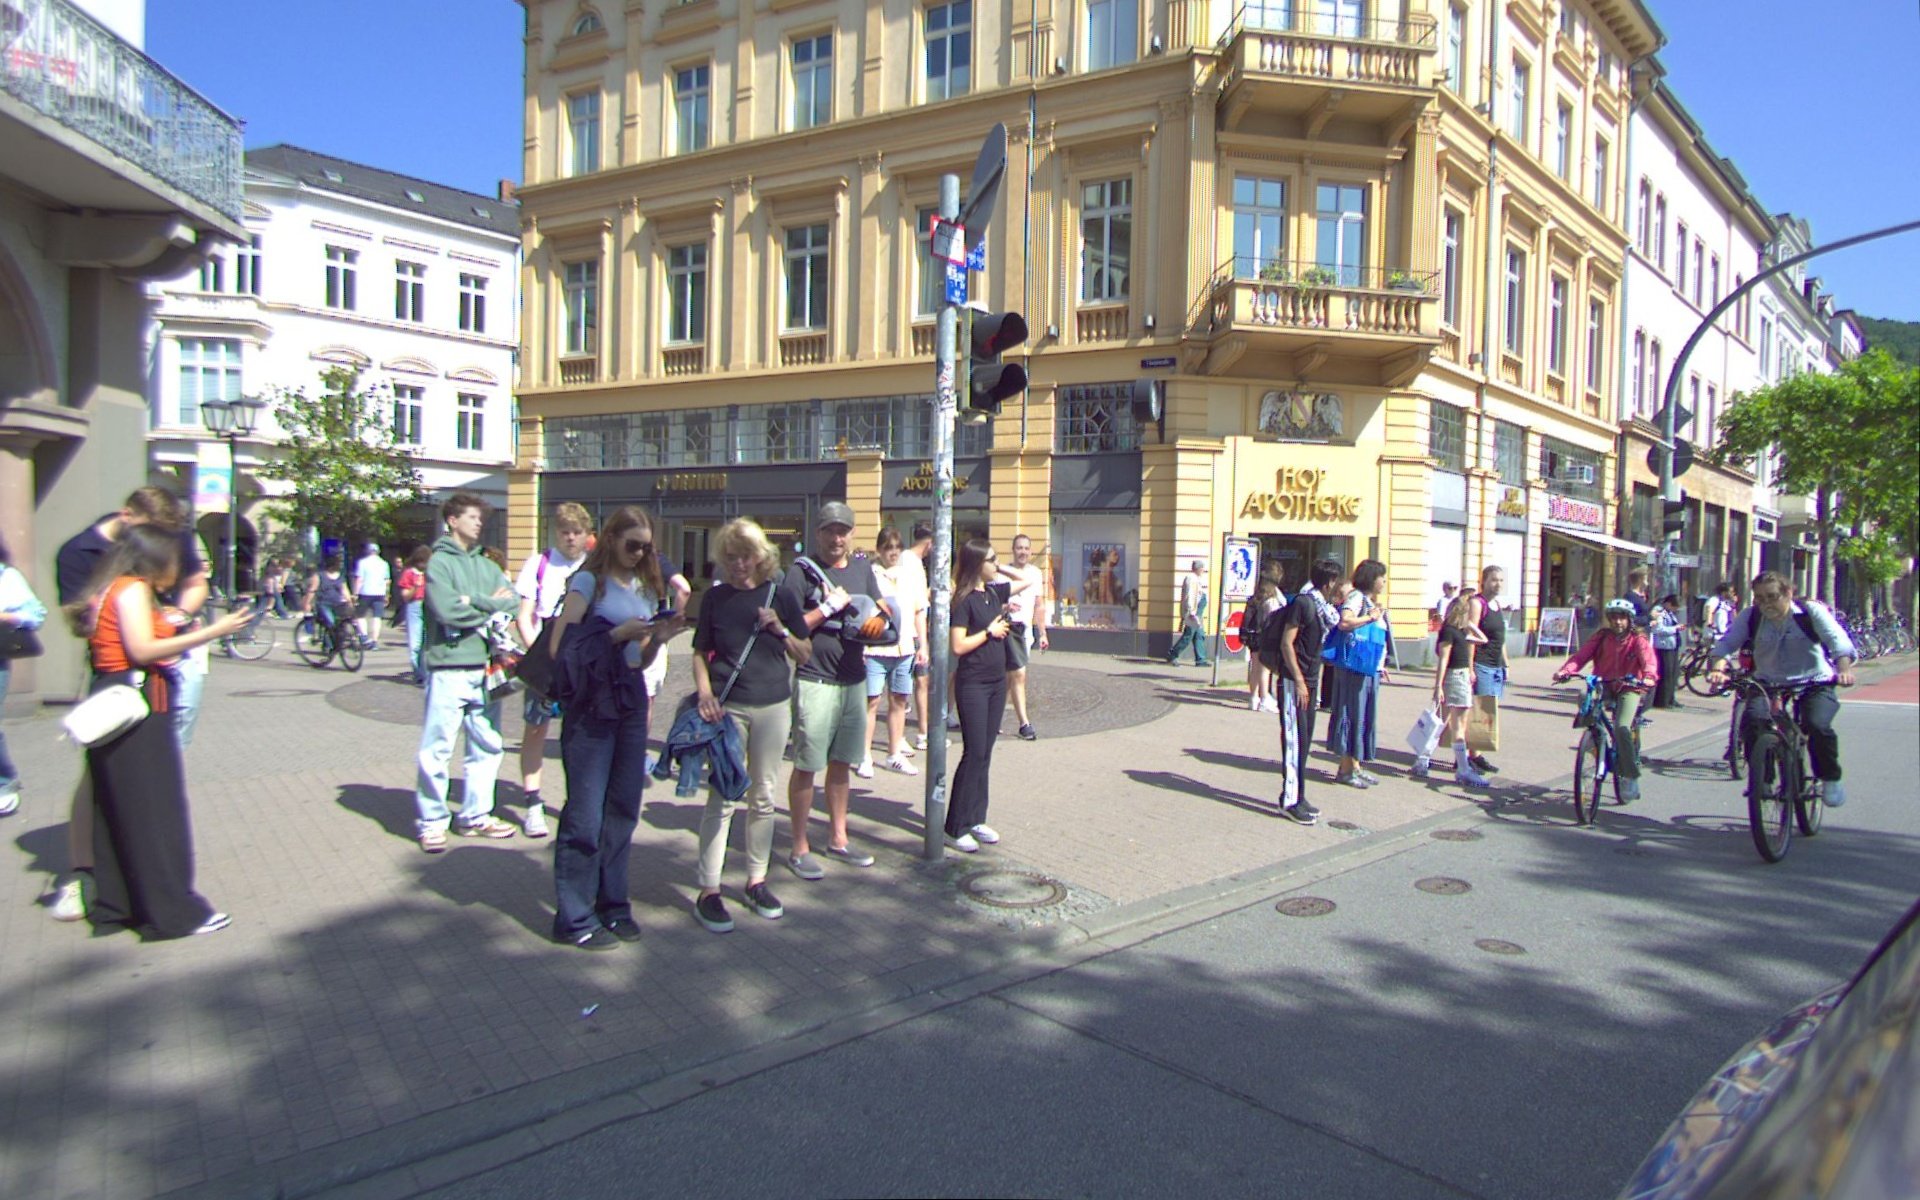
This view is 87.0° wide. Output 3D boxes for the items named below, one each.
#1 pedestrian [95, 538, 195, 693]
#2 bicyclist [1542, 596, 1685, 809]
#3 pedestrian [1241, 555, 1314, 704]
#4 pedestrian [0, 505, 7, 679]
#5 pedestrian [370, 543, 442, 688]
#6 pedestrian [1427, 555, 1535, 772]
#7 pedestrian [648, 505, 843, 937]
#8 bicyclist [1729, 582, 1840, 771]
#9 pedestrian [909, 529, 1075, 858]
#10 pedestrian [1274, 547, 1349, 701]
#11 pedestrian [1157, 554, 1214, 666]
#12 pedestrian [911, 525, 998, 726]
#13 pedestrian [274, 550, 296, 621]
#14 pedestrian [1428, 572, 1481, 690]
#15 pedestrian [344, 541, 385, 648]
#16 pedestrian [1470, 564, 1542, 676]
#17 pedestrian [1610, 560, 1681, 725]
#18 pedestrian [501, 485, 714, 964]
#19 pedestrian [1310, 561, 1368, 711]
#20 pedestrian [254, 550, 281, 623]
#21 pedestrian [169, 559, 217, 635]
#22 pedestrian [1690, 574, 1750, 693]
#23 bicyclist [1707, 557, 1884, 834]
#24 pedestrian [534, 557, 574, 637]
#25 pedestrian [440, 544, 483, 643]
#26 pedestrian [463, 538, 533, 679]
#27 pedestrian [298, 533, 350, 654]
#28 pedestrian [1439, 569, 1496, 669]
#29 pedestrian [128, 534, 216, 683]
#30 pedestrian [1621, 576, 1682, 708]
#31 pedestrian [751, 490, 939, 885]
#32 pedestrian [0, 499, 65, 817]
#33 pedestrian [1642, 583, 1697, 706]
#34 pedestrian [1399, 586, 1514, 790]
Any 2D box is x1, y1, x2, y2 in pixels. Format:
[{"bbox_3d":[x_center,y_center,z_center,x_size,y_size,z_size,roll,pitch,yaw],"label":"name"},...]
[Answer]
[{"bbox_3d":[-8.359,0.157,10.393,0.572,1.531,0.617,-1,-1,25],"label":"pedestrian"},{"bbox_3d":[4.673,0.679,7.240,0.765,1.414,0.689,0,-1,-43],"label":"bicyclist"},{"bbox_3d":[3.836,0.336,12.224,0.611,1.747,0.577,0,1,-41],"label":"pedestrian"},{"bbox_3d":[-10.595,-0.082,10.528,0.610,1.869,0.791,0,-1,0],"label":"pedestrian"},{"bbox_3d":[-6.642,0.175,12.124,0.611,1.668,0.797,0,-1,-41],"label":"pedestrian"},{"bbox_3d":[4.499,0.522,8.730,0.576,1.751,0.708,4,1,40],"label":"pedestrian"},{"bbox_3d":[-0.935,0.465,4.384,0.581,1.705,0.568,0,2,-42],"label":"pedestrian"},{"bbox_3d":[7.412,0.647,9.099,0.765,1.597,0.688,0,-1,-45],"label":"bicyclist"},{"bbox_3d":[0.180,0.472,5.673,0.658,1.705,0.577,0,3,-45],"label":"pedestrian"},{"bbox_3d":[4.362,0.280,12.578,0.594,1.837,0.578,0,3,-41],"label":"pedestrian"},{"bbox_3d":[3.801,0.150,17.014,0.741,1.828,0.728,1,1,28],"label":"pedestrian"},{"bbox_3d":[-0.055,0.234,9.844,0.611,1.869,0.577,0,-1,-41],"label":"pedestrian"},{"bbox_3d":[-18.014,-0.380,27.027,0.428,1.869,0.481,0,-1,-25],"label":"pedestrian"},{"bbox_3d":[7.278,0.443,14.896,0.575,1.680,0.614,2,1,36],"label":"pedestrian"},{"bbox_3d":[-10.692,-0.097,18.175,0.527,1.869,0.692,0,-1,-41],"label":"pedestrian"},{"bbox_3d":[9.145,0.322,16.948,0.844,1.815,0.758,1,1,-37],"label":"pedestrian"},{"bbox_3d":[8.285,0.485,12.226,0.575,1.897,0.671,4,2,36],"label":"pedestrian"},{"bbox_3d":[-1.405,0.441,4.033,0.612,1.706,0.577,0,-1,-45],"label":"pedestrian"},{"bbox_3d":[4.442,0.402,11.862,0.470,1.710,0.443,0,1,-41],"label":"pedestrian"},{"bbox_3d":[-17.892,-0.336,26.157,0.494,1.869,0.466,0,-1,-25],"label":"pedestrian"},{"bbox_3d":[-15.662,-0.052,20.663,0.617,1.521,0.519,-1,-1,18],"label":"pedestrian"},{"bbox_3d":[12.023,0.511,16.024,0.646,1.801,0.615,3,3,34],"label":"pedestrian"},{"bbox_3d":[5.251,0.548,6.362,0.765,1.597,0.749,0,-1,-43],"label":"bicyclist"},{"bbox_3d":[-8.325,-0.066,20.769,0.611,1.609,0.577,0,-1,-41],"label":"pedestrian"},{"bbox_3d":[-9.621,-0.119,19.531,0.611,1.869,0.577,0,-1,-41],"label":"pedestrian"},{"bbox_3d":[-5.989,0.105,13.119,0.687,1.777,0.577,0,-1,-41],"label":"pedestrian"},{"bbox_3d":[-10.143,-0.102,16.141,0.611,1.869,0.577,0,-1,-41],"label":"pedestrian"},{"bbox_3d":[8.870,0.318,17.692,0.566,1.705,0.689,1,0,-7],"label":"pedestrian"},{"bbox_3d":[-8.722,0.090,11.208,0.572,1.588,0.586,-1,-1,25],"label":"pedestrian"},{"bbox_3d":[9.320,0.544,13.637,0.575,1.705,0.668,3,2,36],"label":"pedestrian"},{"bbox_3d":[-0.574,0.389,5.069,0.688,1.807,0.577,0,2,-45],"label":"pedestrian"},{"bbox_3d":[-5.123,0.293,5.212,0.571,1.604,0.518,0,-1,-2],"label":"pedestrian"},{"bbox_3d":[9.766,0.587,13.929,0.528,1.615,0.581,4,3,36],"label":"pedestrian"},{"bbox_3d":[4.012,0.668,8.176,0.668,1.515,0.630,5,3,34],"label":"pedestrian"}]
